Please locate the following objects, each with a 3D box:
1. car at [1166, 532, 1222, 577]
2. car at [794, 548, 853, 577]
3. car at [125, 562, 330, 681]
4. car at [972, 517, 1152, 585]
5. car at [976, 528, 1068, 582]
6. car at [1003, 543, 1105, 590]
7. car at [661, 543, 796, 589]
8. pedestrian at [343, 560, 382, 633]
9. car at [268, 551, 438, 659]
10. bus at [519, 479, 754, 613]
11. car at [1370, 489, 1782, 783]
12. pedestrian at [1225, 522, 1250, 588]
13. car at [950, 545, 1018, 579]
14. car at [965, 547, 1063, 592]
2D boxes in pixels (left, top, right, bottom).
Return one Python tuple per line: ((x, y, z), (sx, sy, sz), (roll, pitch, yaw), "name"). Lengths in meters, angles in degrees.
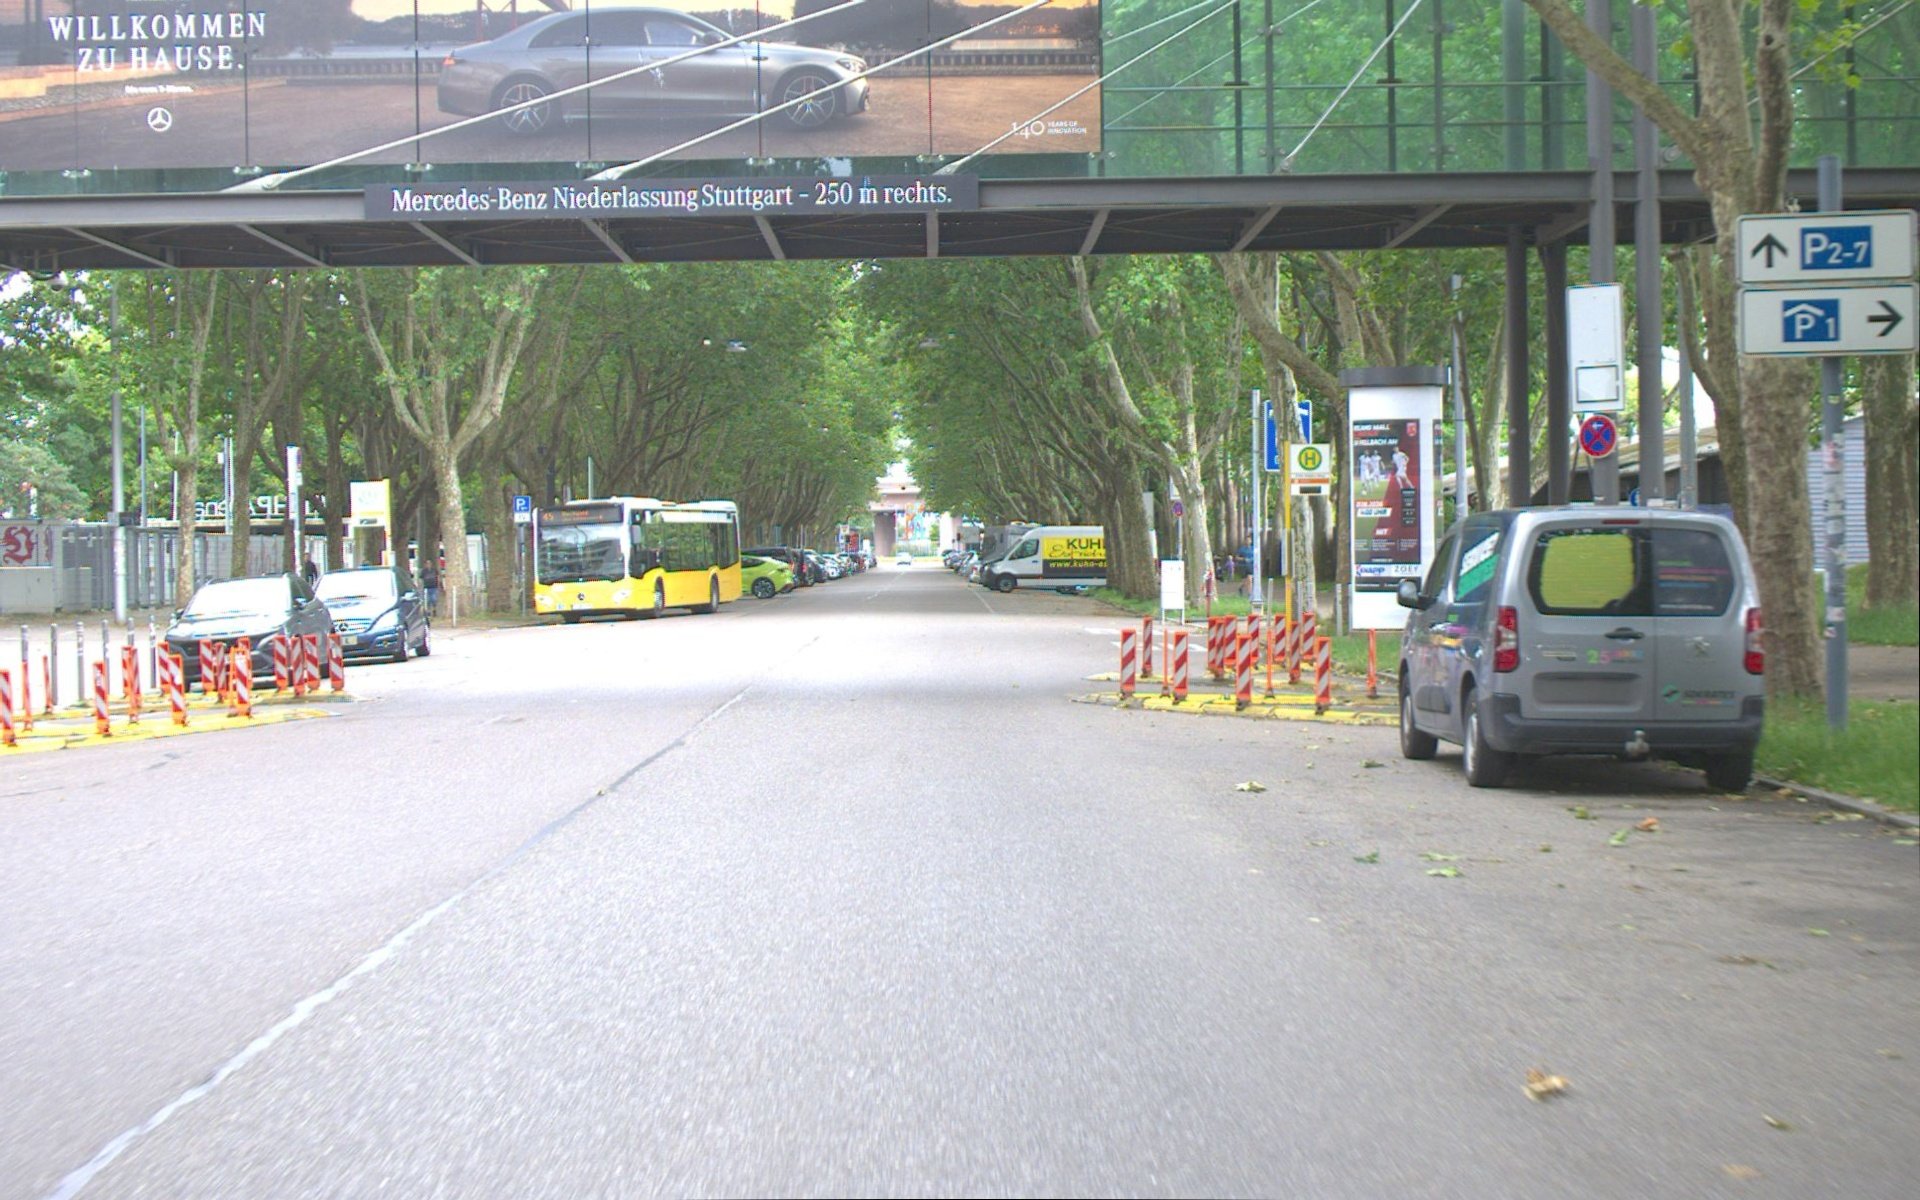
((9.558, -1.863, 140.937), (1.993, 1.766, 4.000), (-1, 1, 0), "car")
((-9.418, -2.569, 237.562), (3.987, 1.963, 2.000), (-1, 1, 0), "car")
((-10.242, 0.258, 48.368), (1.858, 1.448, 4.449), (-4, 1, 0), "car")
((3.943, -1.907, 133.540), (6.822, 2.505, 2.317), (-1, 1, -2), "car")
((2.722, -1.998, 151.633), (3.987, 2.331, 1.543), (-1, 1, -1), "car")
((3.749, -1.335, 136.880), (3.987, 1.782, 1.520), (-1, 1, 2), "car")
((-8.318, -1.239, 123.623), (4.700, 1.579, 1.864), (-1, 1, 1), "car")
((-13.074, -0.080, 75.219), (0.667, 1.598, 0.611), (-1, 1, -25), "pedestrian")
((-9.968, 0.054, 56.760), (1.993, 1.579, 4.113), (-4, 1, 0), "car")
((-8.299, -1.454, 90.467), (3.039, 3.149, 12.673), (-3, 1, 9), "bus")
((4.067, 0.181, 23.568), (1.847, 1.777, 5.211), (0, 1, 0), "car")
((7.935, -1.280, 98.244), (0.572, 1.881, 0.617), (-1, 1, -9), "pedestrian")
((1.303, -2.074, 186.789), (3.621, 1.788, 1.543), (-1, 1, -1), "car")
((2.203, -1.243, 141.000), (3.987, 1.788, 1.543), (-1, 1, -1), "car")
